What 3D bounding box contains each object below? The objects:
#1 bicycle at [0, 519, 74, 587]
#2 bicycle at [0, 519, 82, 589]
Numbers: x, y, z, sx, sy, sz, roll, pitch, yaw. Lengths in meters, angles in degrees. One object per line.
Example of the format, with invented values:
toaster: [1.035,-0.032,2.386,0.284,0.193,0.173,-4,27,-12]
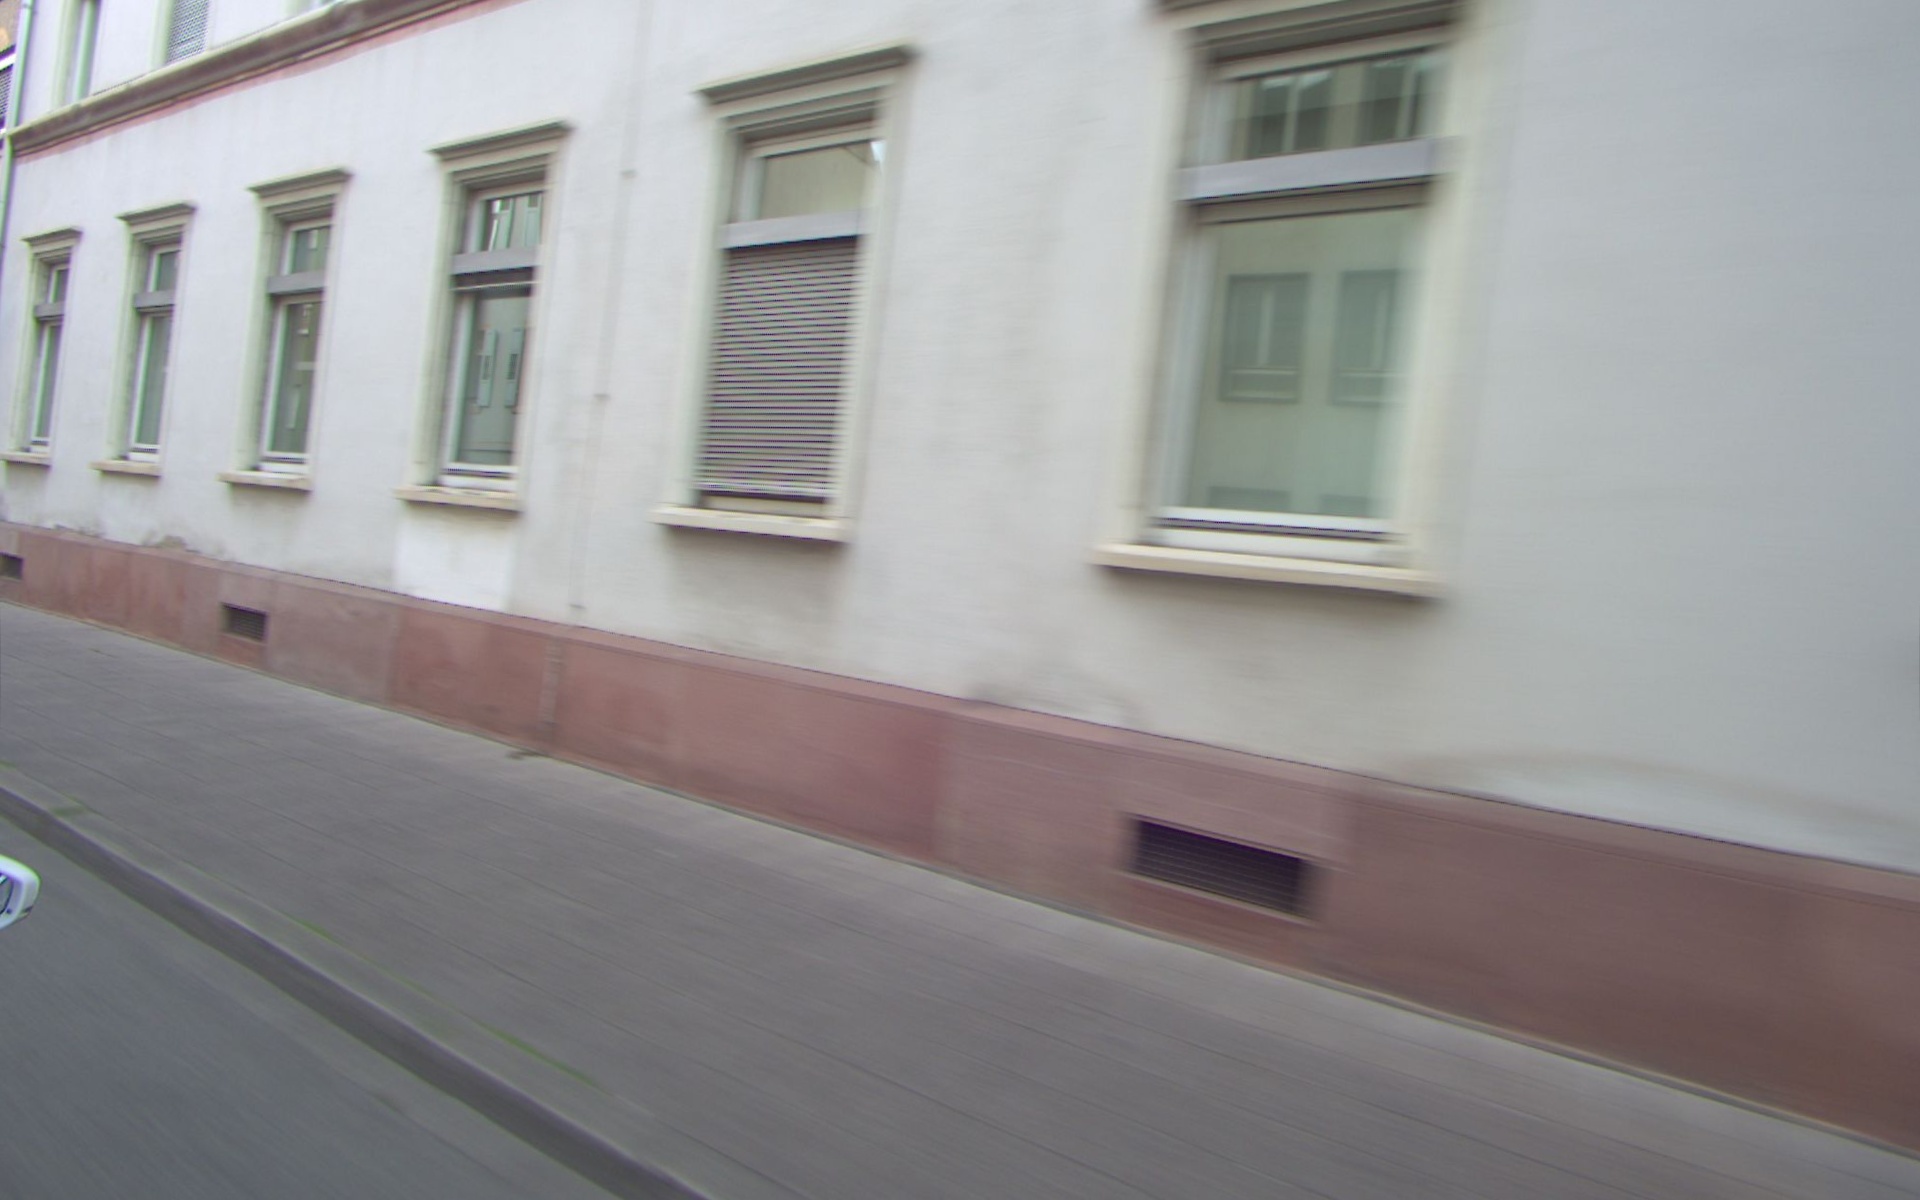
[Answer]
bicycle: [-14.809,-0.773,15.401,0.528,0.933,1.745,7,-1,24]
bicycle: [-14.218,-0.729,14.829,0.528,0.933,1.801,7,-1,23]
